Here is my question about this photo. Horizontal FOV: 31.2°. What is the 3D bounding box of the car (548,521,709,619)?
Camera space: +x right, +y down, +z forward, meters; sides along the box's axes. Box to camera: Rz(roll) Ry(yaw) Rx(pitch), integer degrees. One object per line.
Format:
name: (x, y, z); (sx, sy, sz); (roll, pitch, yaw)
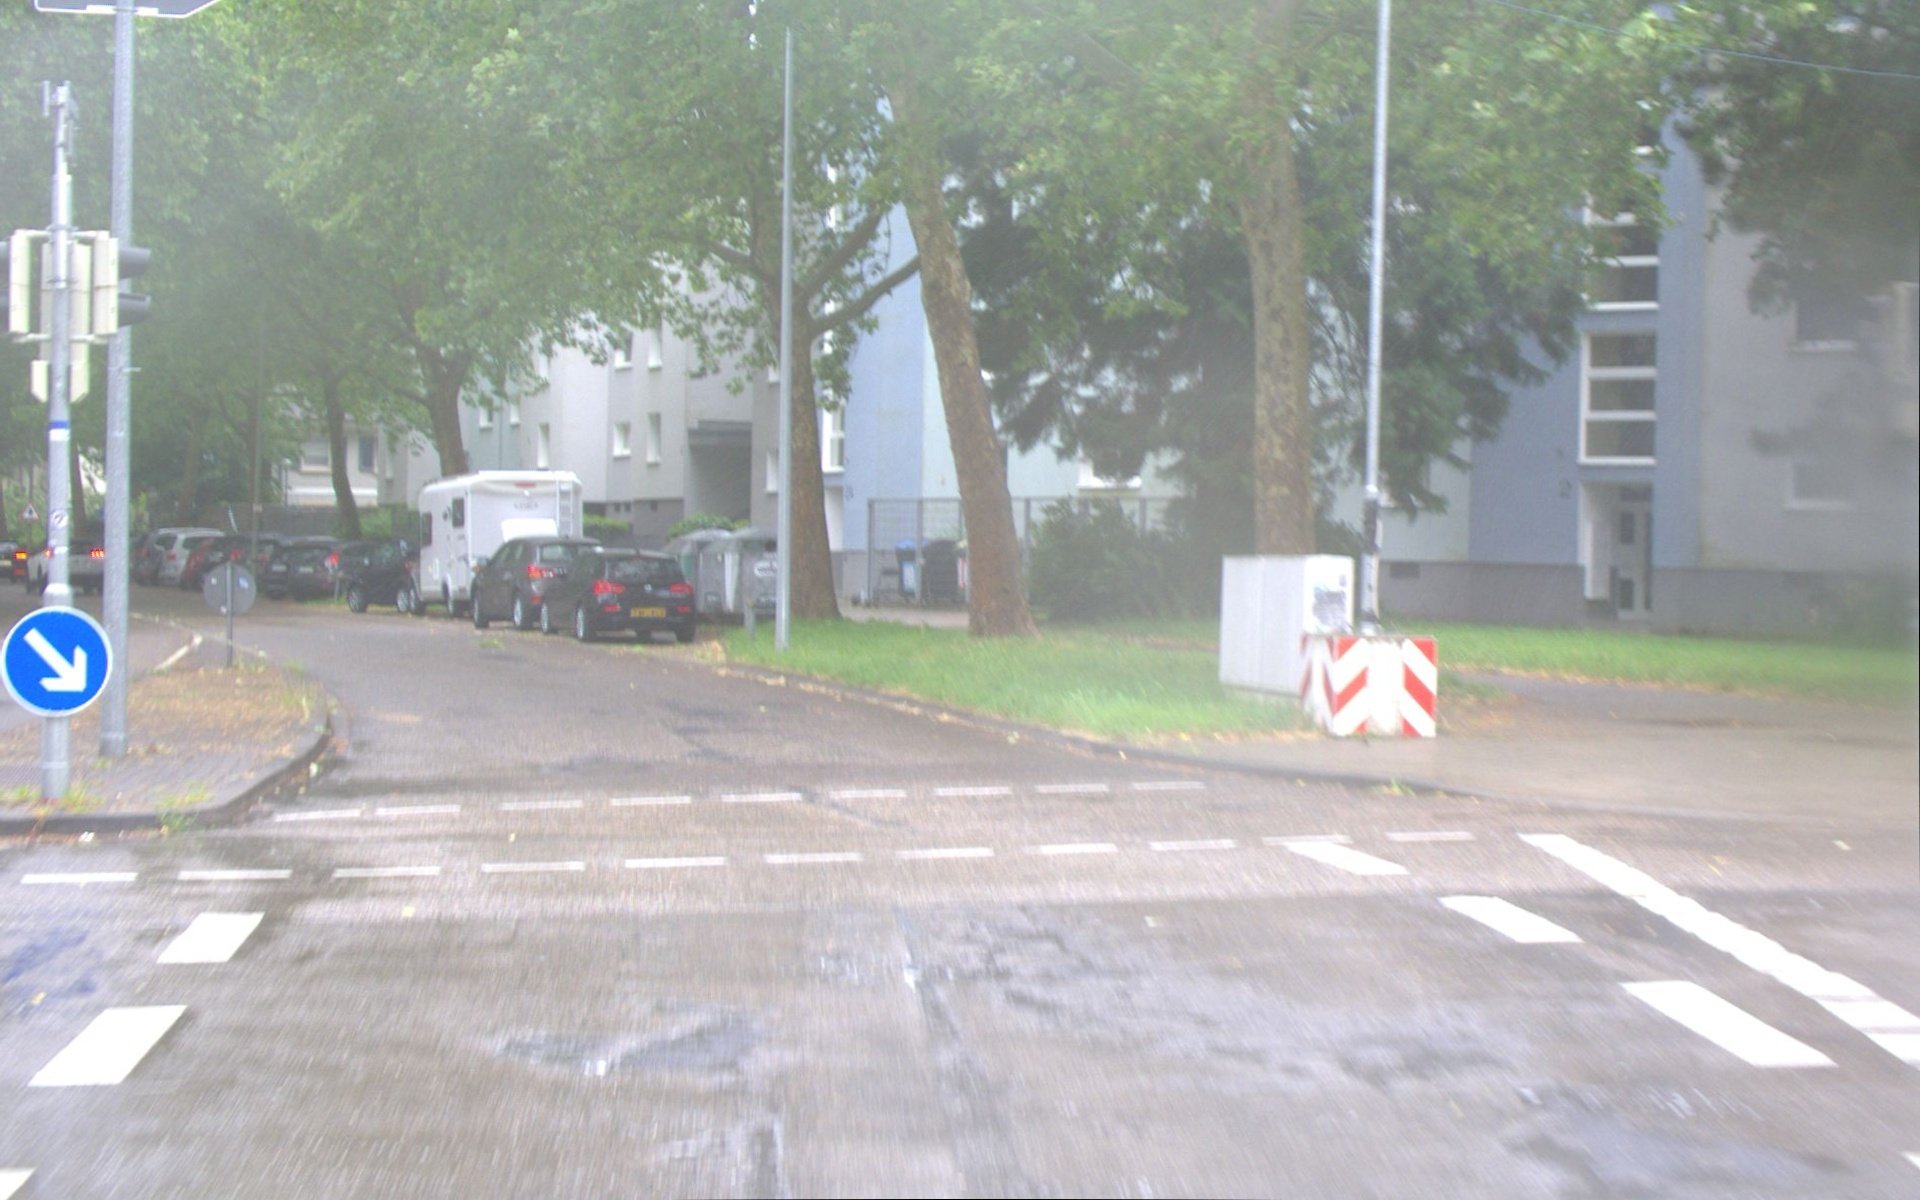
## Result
car: (-5.230, -0.489, 53.764); (1.548, 1.385, 4.151); (2, 1, -19)

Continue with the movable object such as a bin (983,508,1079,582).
movable object such as a bin: (1.435, -1.107, 69.549); (1.317, 1.427, 1.370); (1, 2, -39)

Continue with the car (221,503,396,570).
car: (-16.759, -1.623, 88.572); (2.034, 1.596, 3.990); (3, 2, 42)

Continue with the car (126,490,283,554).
car: (-22.769, -2.348, 103.604); (4.336, 1.756, 1.819); (1, 1, -21)

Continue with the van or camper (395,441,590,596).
van or camper: (-9.127, -1.586, 66.483); (2.318, 2.797, 6.866); (1, 1, -20)

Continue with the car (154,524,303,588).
car: (-21.403, -1.279, 100.548); (3.986, 1.721, 1.801); (1, 1, -20)

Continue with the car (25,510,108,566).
car: (-24.039, -1.688, 92.423); (1.705, 1.406, 3.646); (-2, 2, -21)

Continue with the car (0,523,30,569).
car: (-31.477, -1.764, 112.283); (1.705, 1.406, 3.646); (-2, 2, -21)

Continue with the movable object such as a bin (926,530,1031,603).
movable object such as a bin: (0.379, -0.703, 70.912); (1.213, 1.427, 1.862); (1, 2, -39)

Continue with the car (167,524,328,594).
car: (-18.986, -1.114, 91.717); (1.836, 1.691, 3.859); (3, 4, 41)

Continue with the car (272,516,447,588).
car: (-14.132, -1.128, 81.070); (1.801, 1.596, 3.760); (3, 2, 39)

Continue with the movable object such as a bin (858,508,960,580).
movable object such as a bin: (-1.085, -1.180, 72.259); (1.213, 1.427, 1.862); (1, 2, -39)

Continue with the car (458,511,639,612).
car: (-7.095, -0.643, 58.921); (1.915, 1.615, 4.455); (1, 0, -22)
